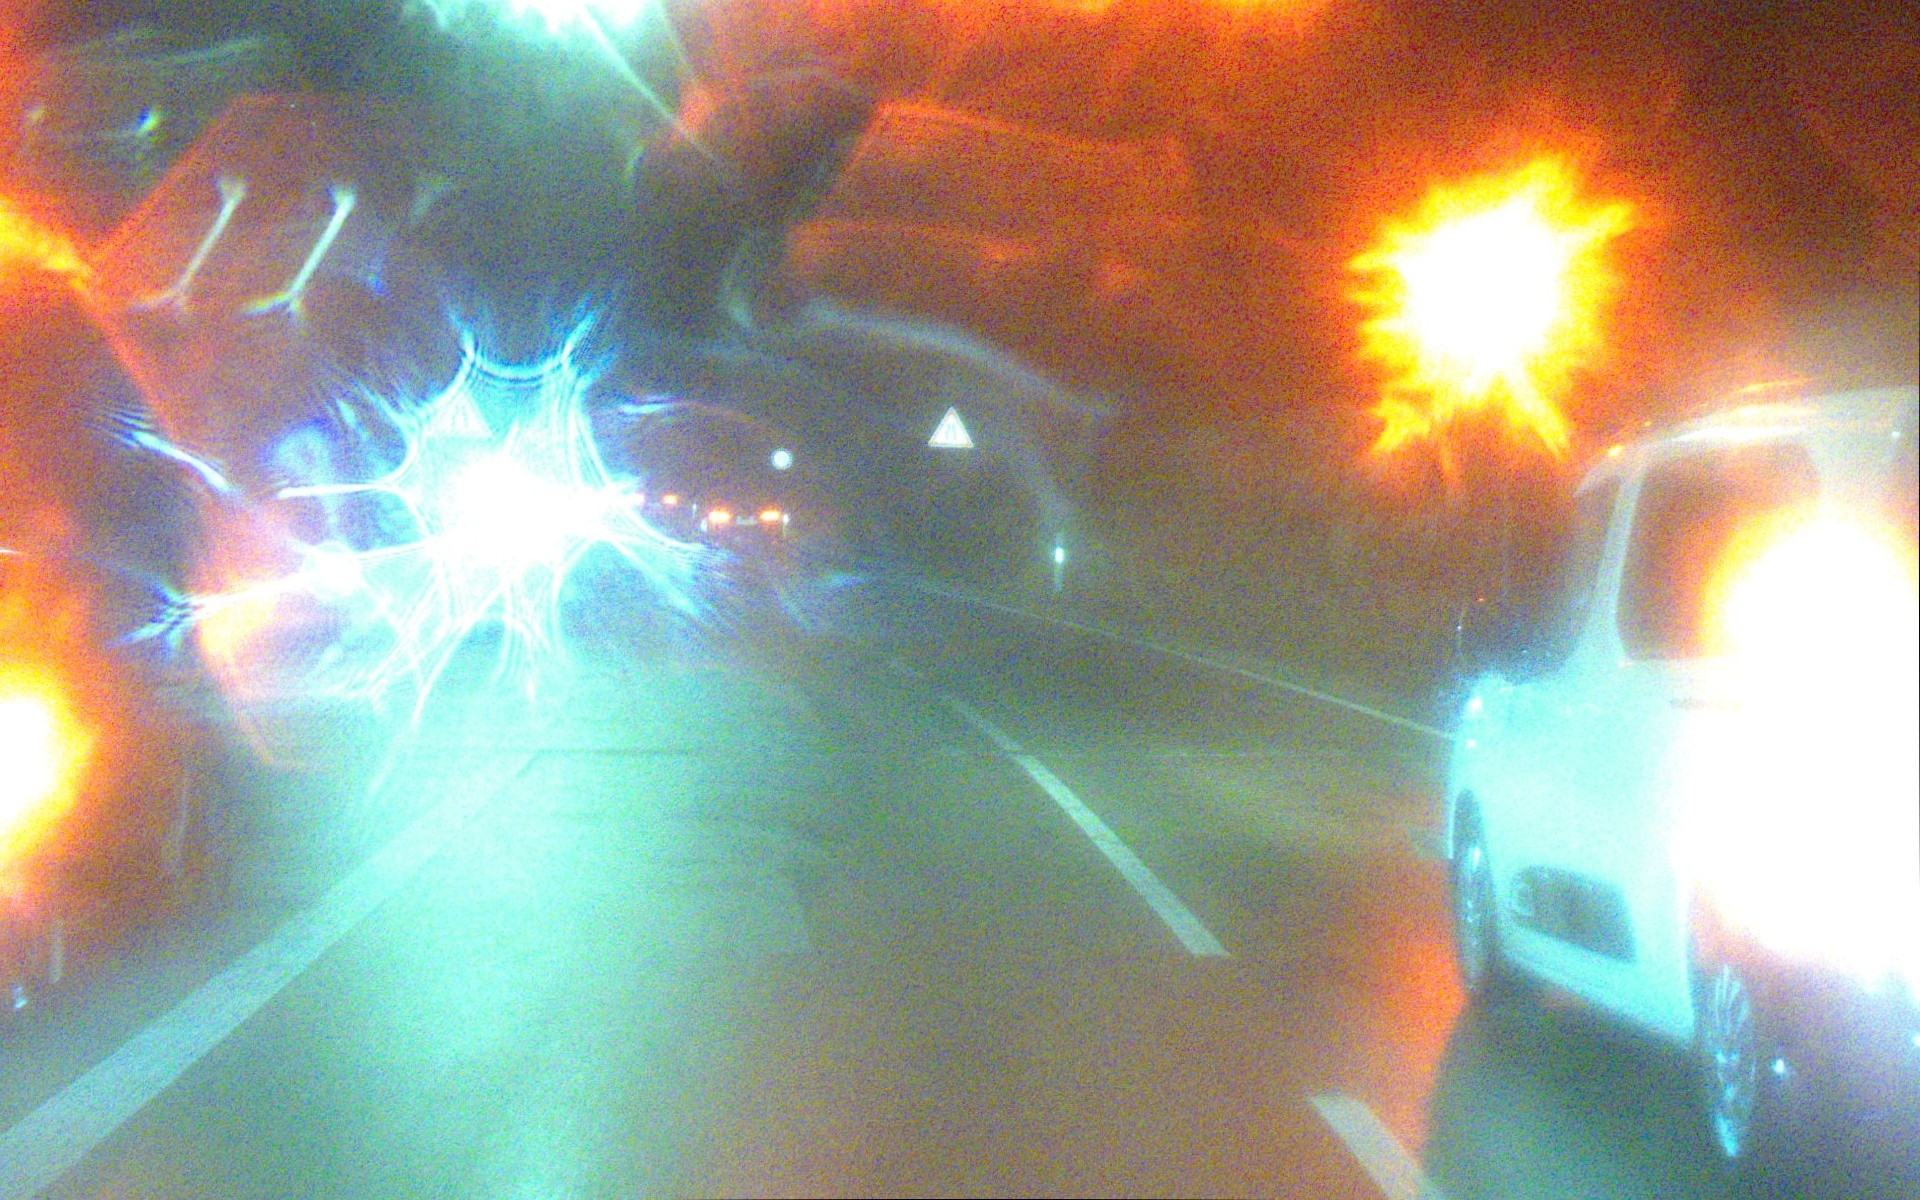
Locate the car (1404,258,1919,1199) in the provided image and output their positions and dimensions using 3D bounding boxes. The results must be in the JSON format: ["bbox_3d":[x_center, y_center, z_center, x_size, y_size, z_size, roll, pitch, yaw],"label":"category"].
[{"bbox_3d":[2.440,0.280,9.196,1.791,2.015,4.580,1,1,-1],"label":"car"}]

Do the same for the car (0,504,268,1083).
[{"bbox_3d":[-3.430,0.475,10.567,1.783,1.506,4.436,-1,1,-1],"label":"car"}]

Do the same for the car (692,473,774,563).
[{"bbox_3d":[-5.285,-1.900,79.562,1.791,2.015,4.580,0,1,-5],"label":"car"}]

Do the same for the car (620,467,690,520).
[{"bbox_3d":[-11.418,-3.974,129.094,1.994,1.711,4.000,4,0,2],"label":"car"}]
